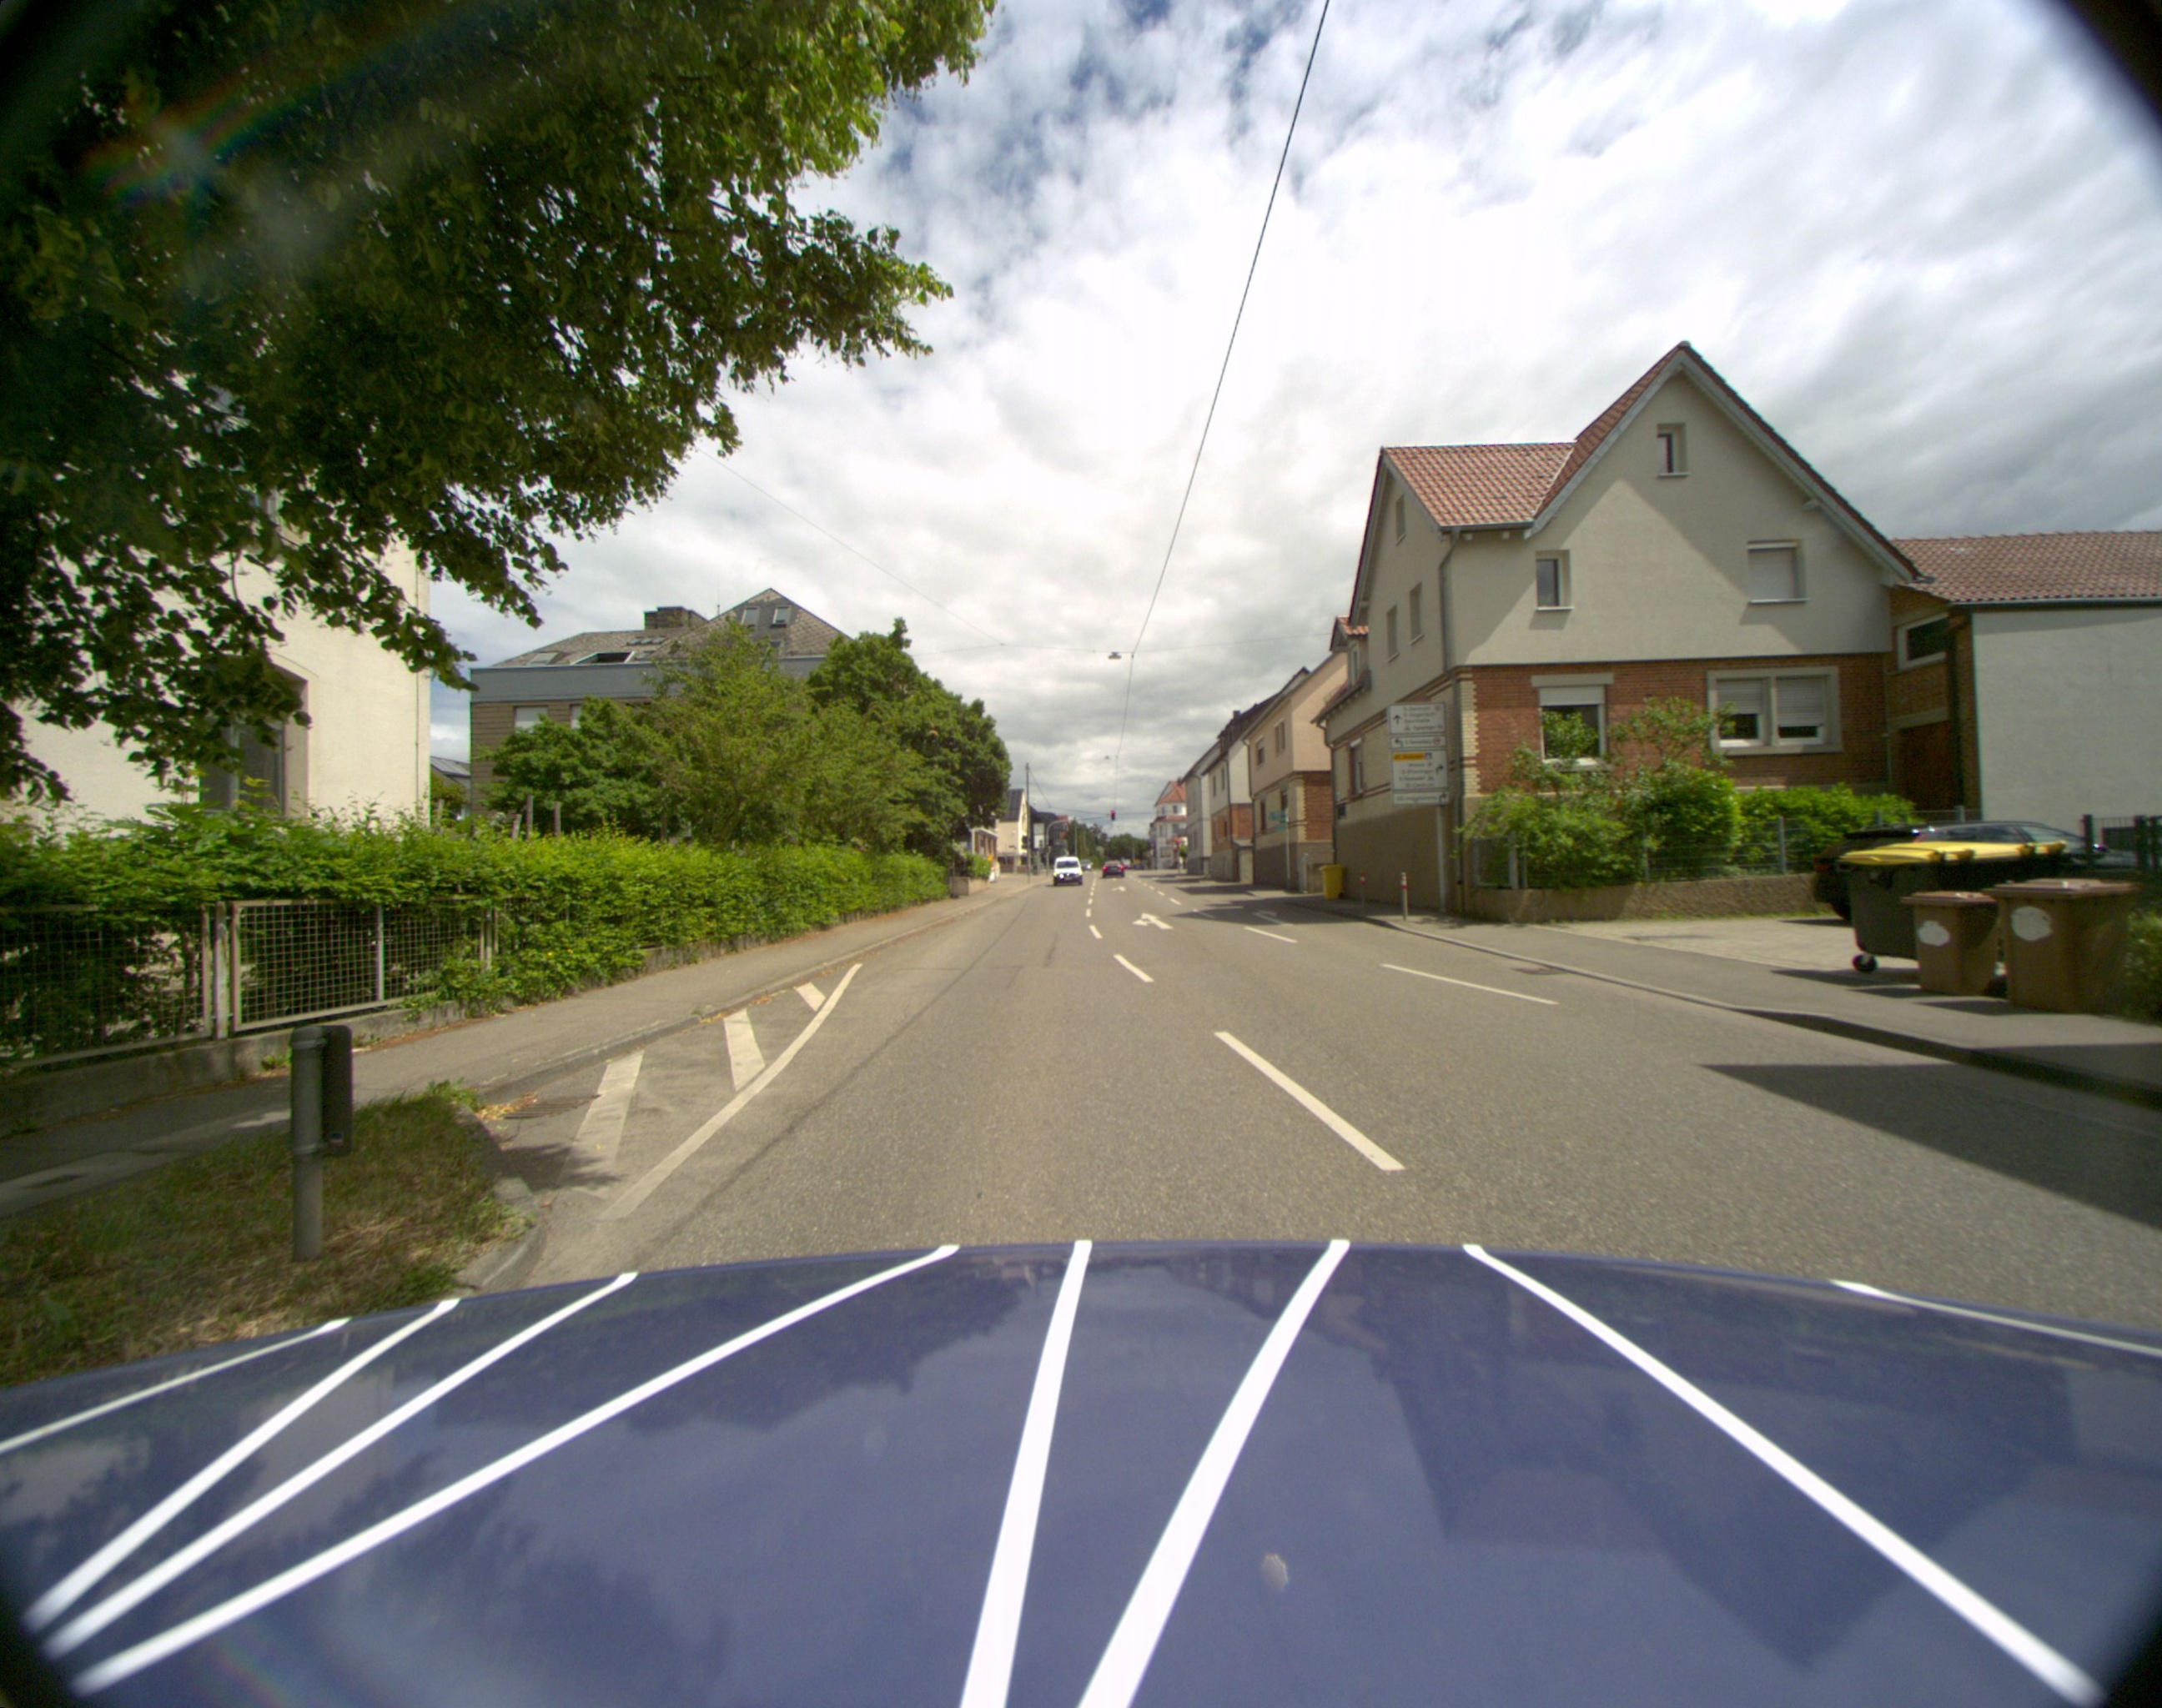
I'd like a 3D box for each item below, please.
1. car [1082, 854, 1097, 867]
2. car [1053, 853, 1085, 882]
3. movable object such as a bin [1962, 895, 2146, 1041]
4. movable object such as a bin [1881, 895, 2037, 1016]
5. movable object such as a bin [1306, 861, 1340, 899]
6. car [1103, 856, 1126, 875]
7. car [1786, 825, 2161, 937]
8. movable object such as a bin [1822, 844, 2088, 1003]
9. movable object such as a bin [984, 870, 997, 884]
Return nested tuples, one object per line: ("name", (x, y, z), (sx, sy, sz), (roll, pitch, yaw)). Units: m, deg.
("car", (1.110, 0.855, 97.071), (1.795, 1.477, 4.001), (-3, -1, 2))
("car", (-0.703, 0.842, 48.119), (1.893, 1.718, 4.293), (-2, 0, 0))
("movable object such as a bin", (7.840, 0.893, 6.153), (0.642, 1.069, 0.660), (-1, 0, -2))
("movable object such as a bin", (7.939, 0.897, 6.899), (0.642, 0.994, 0.657), (-1, 0, 0))
("movable object such as a bin", (7.658, 0.821, 24.075), (0.766, 1.155, 0.802), (-2, 0, -3))
("car", (2.857, 0.956, 64.914), (1.795, 1.477, 4.001), (-3, -1, 2))
("car", (14.524, 0.403, 12.500), (3.997, 1.565, 2.001), (-2, 0, 0))
("movable object such as a bin", (8.682, 0.642, 7.631), (1.338, 1.437, 1.170), (-1, 0, -3))
("movable object such as a bin", (-6.214, 1.563, 52.399), (0.789, 0.909, 0.470), (3, 0, 0))
